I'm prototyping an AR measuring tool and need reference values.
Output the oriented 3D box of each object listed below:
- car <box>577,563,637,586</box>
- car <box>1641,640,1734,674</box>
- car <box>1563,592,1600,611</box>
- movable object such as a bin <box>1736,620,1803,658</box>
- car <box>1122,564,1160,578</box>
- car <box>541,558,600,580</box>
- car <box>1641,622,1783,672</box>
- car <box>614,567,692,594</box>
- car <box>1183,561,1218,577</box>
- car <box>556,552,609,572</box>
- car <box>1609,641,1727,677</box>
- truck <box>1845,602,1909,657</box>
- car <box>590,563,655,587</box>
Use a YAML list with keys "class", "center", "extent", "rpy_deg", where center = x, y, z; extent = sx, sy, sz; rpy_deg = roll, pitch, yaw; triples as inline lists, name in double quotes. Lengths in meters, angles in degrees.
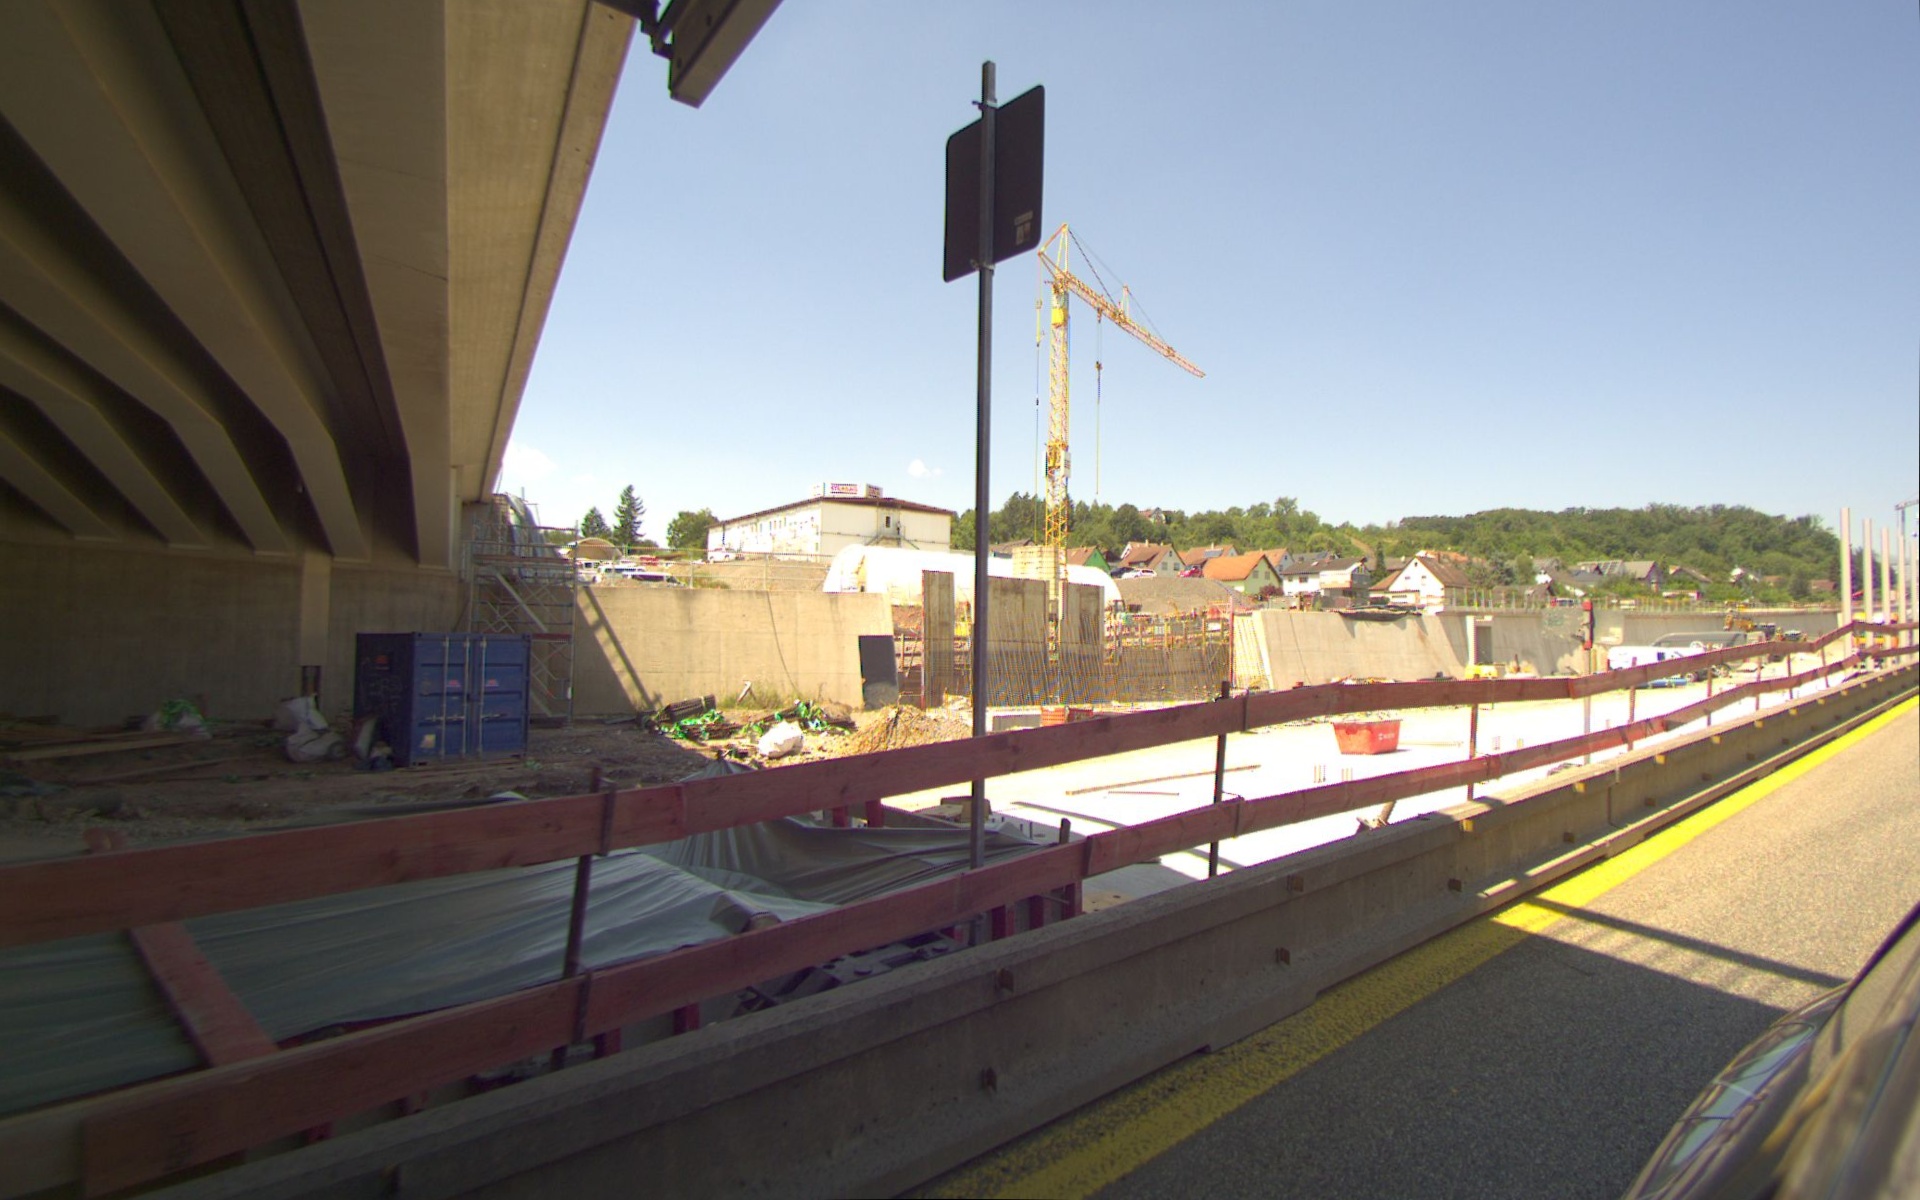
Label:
- class: "car"
  center: [-32.491, -2.349, 93.150]
  extent: [4.893, 1.984, 1.999]
  rpy_deg: [-1, 1, -36]
- class: "car"
  center: [39.796, 3.094, 55.426]
  extent: [1.665, 1.708, 3.860]
  rpy_deg: [0, -2, -45]
- class: "car"
  center: [56.628, 0.115, 92.182]
  extent: [4.527, 1.623, 1.656]
  rpy_deg: [-1, 1, -41]
- class: "movable object such as a bin"
  center: [65.504, 3.118, 81.911]
  extent: [3.924, 2.820, 3.270]
  rpy_deg: [-1, 0, -34]
- class: "car"
  center: [19.341, -3.083, 108.263]
  extent: [4.141, 1.505, 1.728]
  rpy_deg: [-1, 1, -40]
- class: "car"
  center: [-37.609, -3.001, 97.753]
  extent: [4.893, 1.984, 1.999]
  rpy_deg: [-1, 1, -36]
- class: "car"
  center: [42.749, 2.723, 57.704]
  extent: [6.268, 2.615, 2.027]
  rpy_deg: [-4, -4, 37]
- class: "car"
  center: [-23.873, -1.520, 78.860]
  extent: [5.467, 1.984, 1.999]
  rpy_deg: [-1, 1, -36]
- class: "car"
  center: [23.886, -3.064, 100.337]
  extent: [3.543, 1.505, 1.544]
  rpy_deg: [-1, 1, -40]
- class: "car"
  center: [-40.257, -4.027, 107.991]
  extent: [4.893, 1.984, 1.999]
  rpy_deg: [-1, 1, -36]
- class: "car"
  center: [37.396, 3.062, 53.530]
  extent: [1.689, 1.792, 4.797]
  rpy_deg: [1, -2, -39]
- class: "truck"
  center: [62.439, 1.945, 68.872]
  extent: [5.340, 3.447, 2.503]
  rpy_deg: [-1, 0, -40]
- class: "car"
  center: [-28.681, -2.127, 86.091]
  extent: [4.893, 1.984, 1.999]
  rpy_deg: [-1, 1, -36]
